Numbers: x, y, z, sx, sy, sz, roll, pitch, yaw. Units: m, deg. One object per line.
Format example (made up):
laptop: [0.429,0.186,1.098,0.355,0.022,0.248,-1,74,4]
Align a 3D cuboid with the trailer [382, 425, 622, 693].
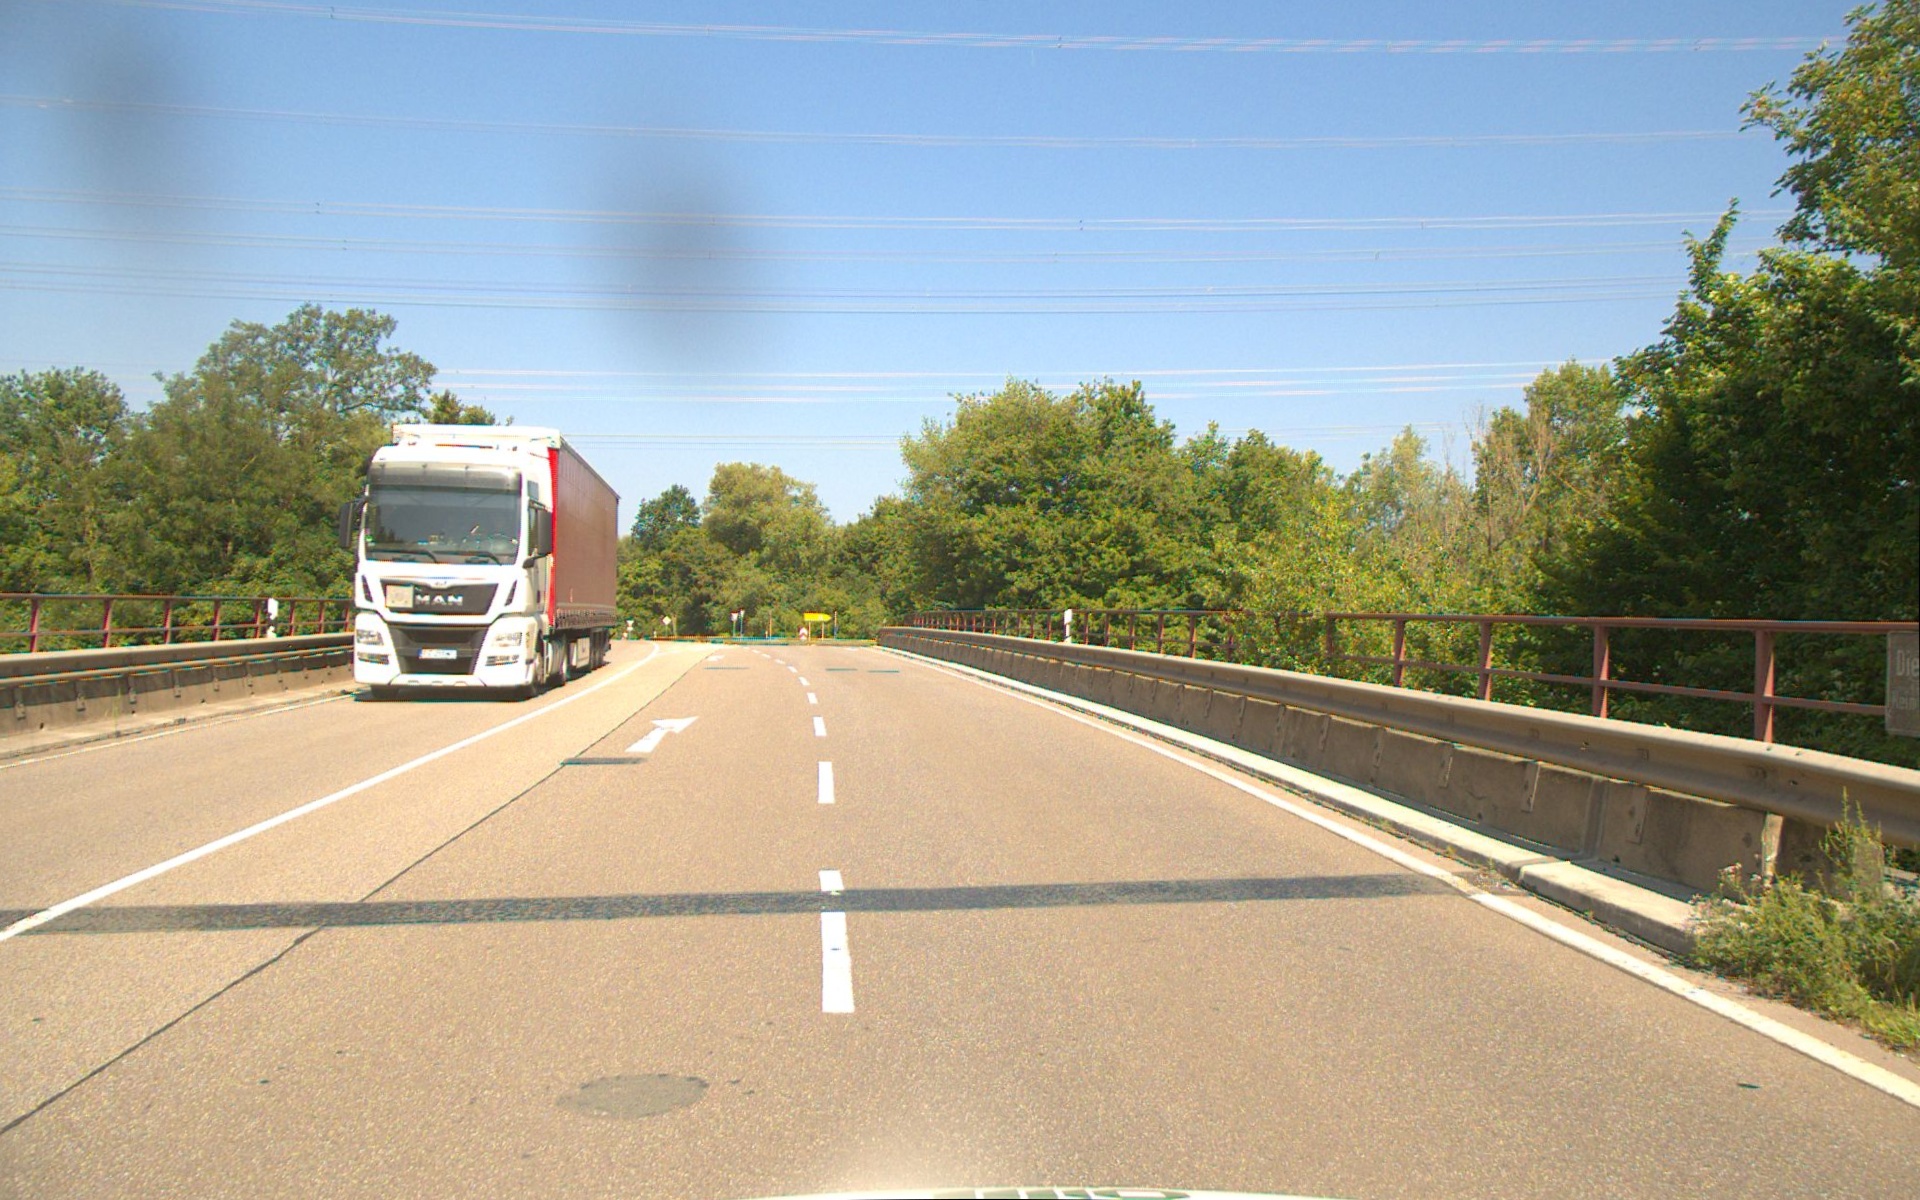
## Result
trailer: [-8.550,-0.578,32.758,2.716,4.133,14.173,0,0,-8]

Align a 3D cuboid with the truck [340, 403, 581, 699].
truck: [-7.610,-0.652,25.952,2.717,4.105,5.844,0,-1,-8]
